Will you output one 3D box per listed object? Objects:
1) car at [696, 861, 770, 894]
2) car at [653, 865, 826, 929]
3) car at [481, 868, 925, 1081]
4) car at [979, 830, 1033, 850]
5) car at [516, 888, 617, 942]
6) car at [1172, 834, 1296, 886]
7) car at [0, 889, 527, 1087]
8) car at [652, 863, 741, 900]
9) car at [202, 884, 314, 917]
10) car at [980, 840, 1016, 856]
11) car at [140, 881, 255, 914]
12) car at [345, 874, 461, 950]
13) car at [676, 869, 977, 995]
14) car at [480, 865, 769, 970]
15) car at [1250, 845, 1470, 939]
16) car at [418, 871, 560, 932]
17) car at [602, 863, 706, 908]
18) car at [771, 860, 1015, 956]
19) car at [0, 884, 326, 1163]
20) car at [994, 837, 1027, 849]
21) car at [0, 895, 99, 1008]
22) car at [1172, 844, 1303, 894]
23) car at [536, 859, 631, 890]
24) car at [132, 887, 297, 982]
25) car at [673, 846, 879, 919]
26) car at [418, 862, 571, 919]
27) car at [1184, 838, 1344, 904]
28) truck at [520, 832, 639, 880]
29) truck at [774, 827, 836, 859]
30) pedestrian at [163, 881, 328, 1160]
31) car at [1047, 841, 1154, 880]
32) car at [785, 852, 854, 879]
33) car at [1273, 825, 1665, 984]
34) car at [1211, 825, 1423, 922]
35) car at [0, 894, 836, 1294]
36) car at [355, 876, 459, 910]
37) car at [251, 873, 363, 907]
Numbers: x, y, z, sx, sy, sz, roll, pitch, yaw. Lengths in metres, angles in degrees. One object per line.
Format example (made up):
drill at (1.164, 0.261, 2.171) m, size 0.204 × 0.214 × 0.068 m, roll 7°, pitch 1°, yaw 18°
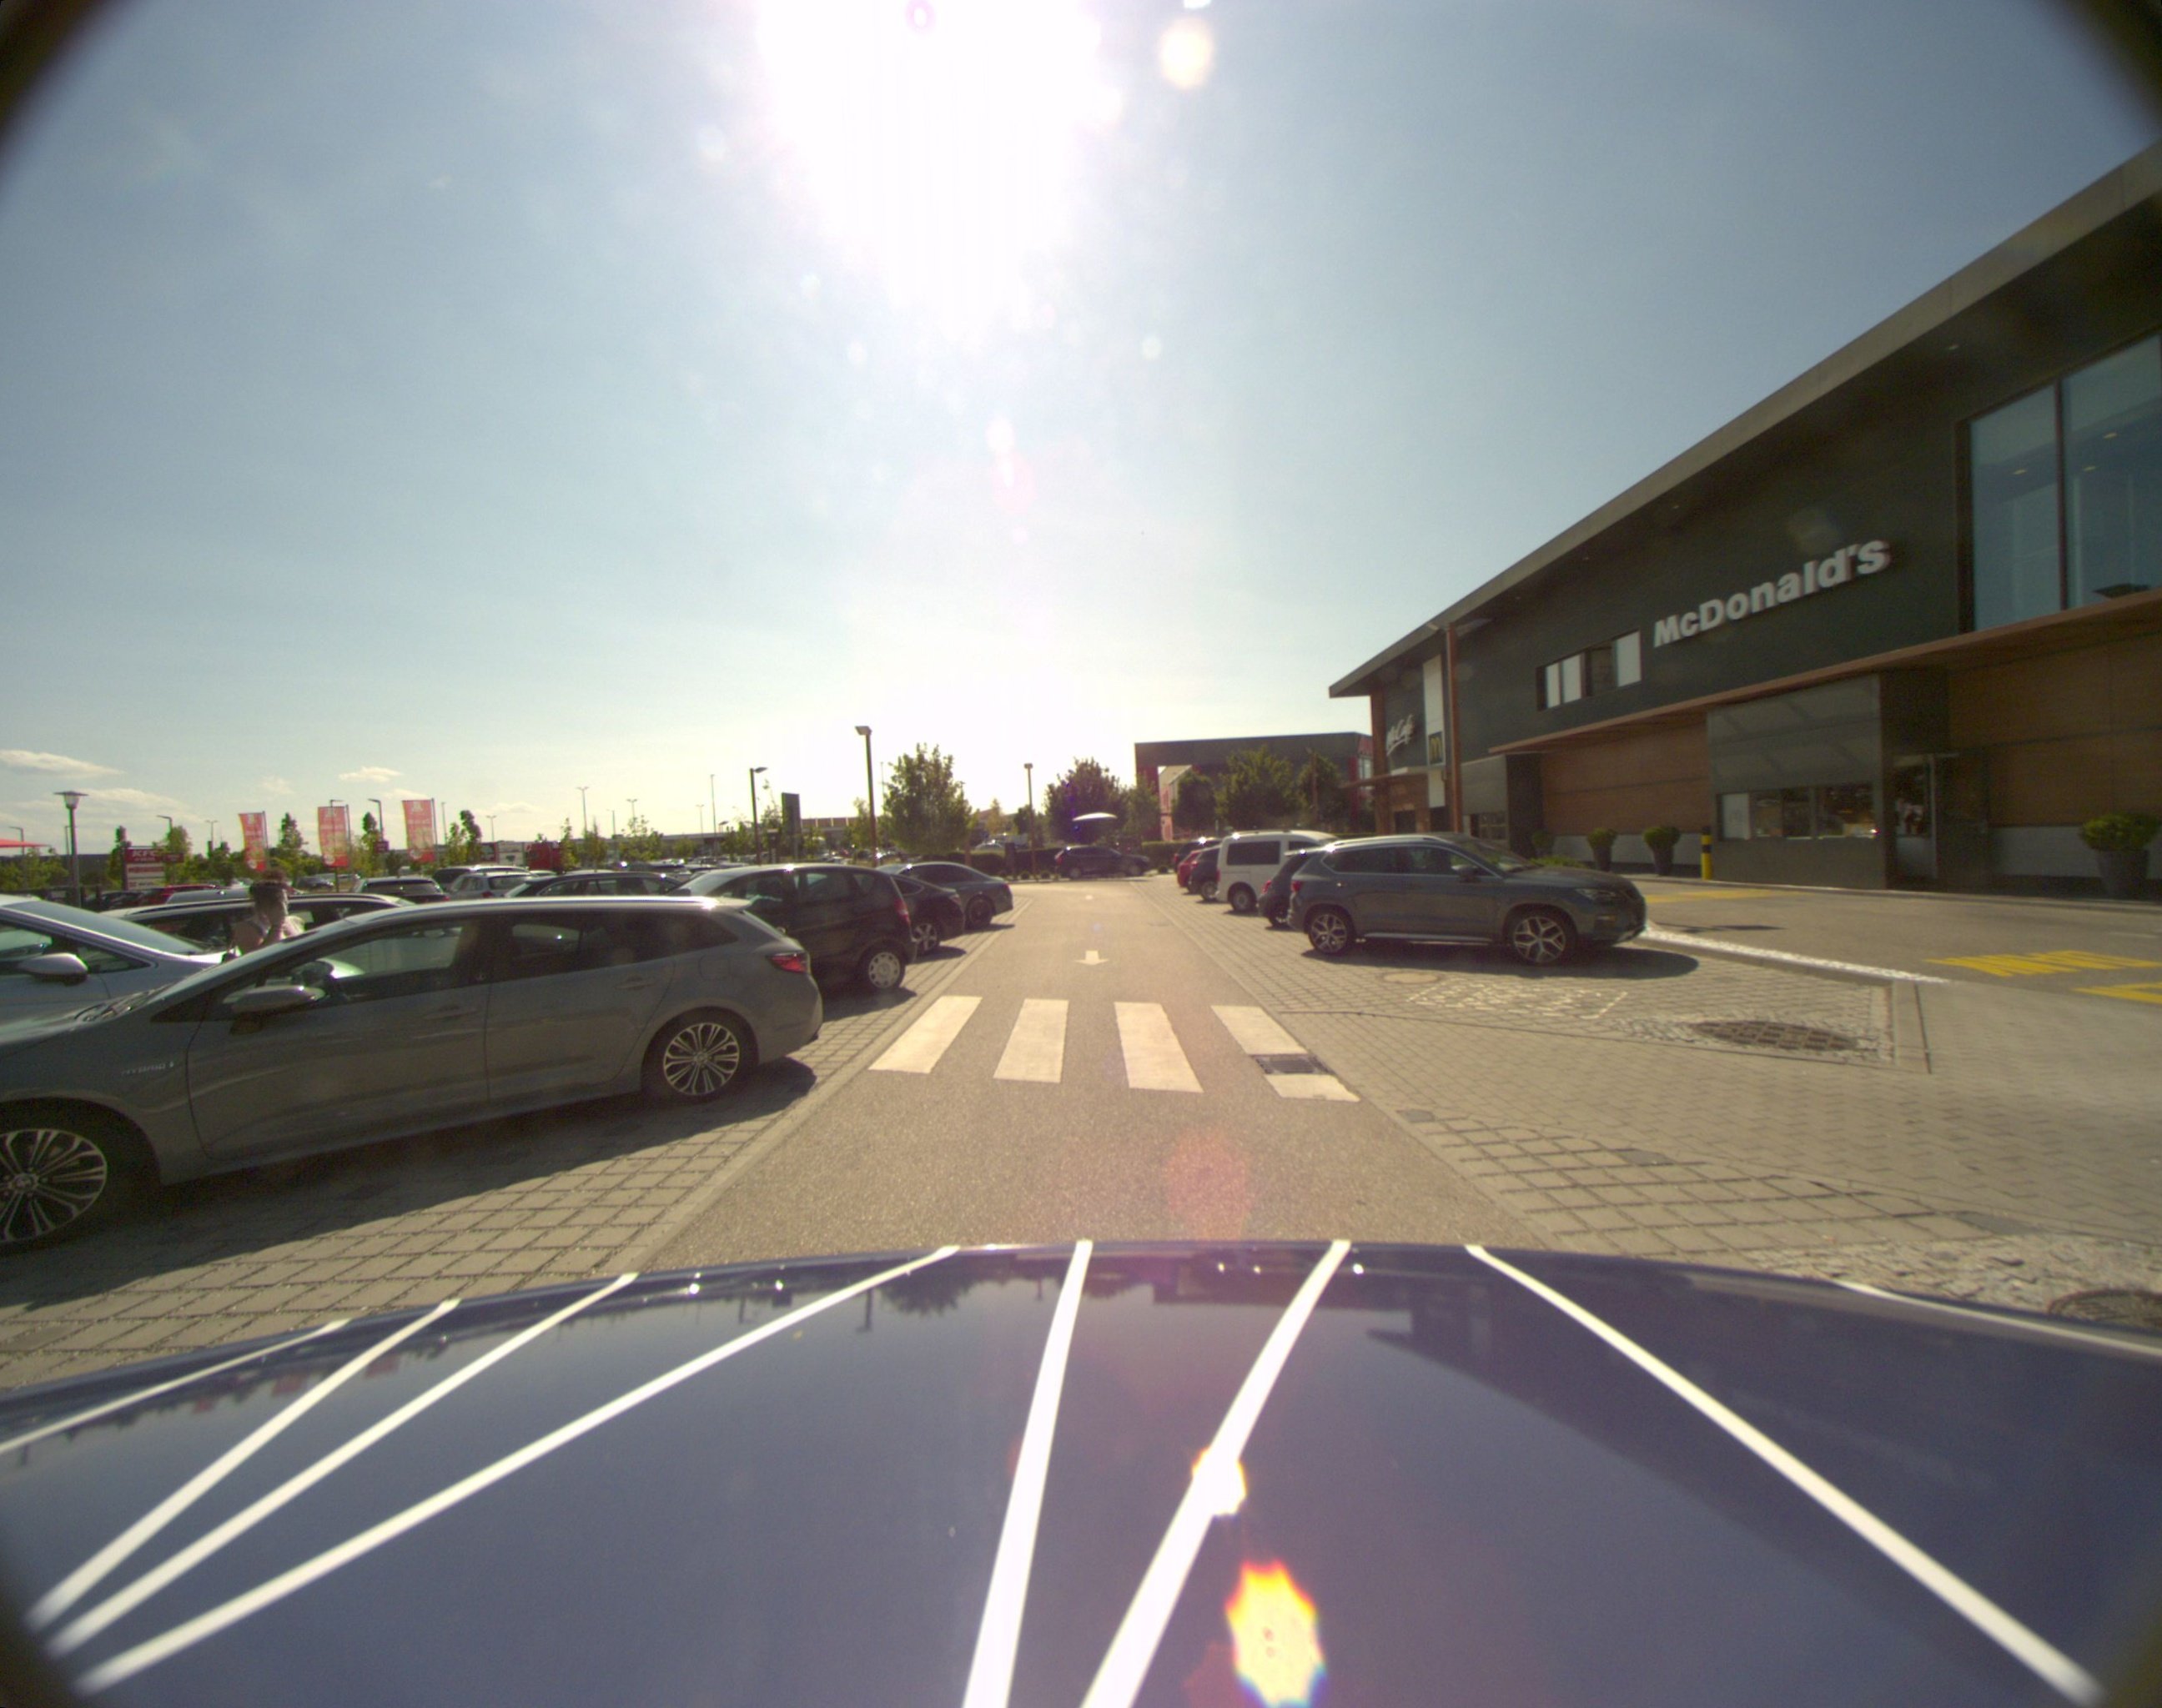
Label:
car at (-16.787, 1.103, 36.551) m, size 3.765 × 1.414 × 1.917 m, roll -2°, pitch 2°, yaw 44°
car at (-9.276, 1.104, 20.814) m, size 3.910 × 1.418 × 1.702 m, roll -3°, pitch 1°, yaw -42°
car at (-3.998, 1.066, 8.478) m, size 4.007 × 1.584 × 1.807 m, roll -3°, pitch 2°, yaw -43°
car at (-9.595, -1.771, 97.563) m, size 6.567 × 2.231 × 2.300 m, roll -2°, pitch 1°, yaw 0°
car at (-16.857, 1.917, 24.802) m, size 4.669 × 1.403 × 1.715 m, roll -1°, pitch 2°, yaw 44°
car at (5.557, 0.231, 27.736) m, size 4.029 × 1.696 × 1.677 m, roll -2°, pitch 2°, yaw 29°
car at (-8.565, 1.209, 8.039) m, size 1.788 × 1.400 × 4.090 m, roll -1°, pitch 1°, yaw 45°
car at (-16.538, 1.164, 32.617) m, size 4.075 × 1.414 × 1.801 m, roll -2°, pitch 2°, yaw 39°
car at (-44.624, 2.500, 41.321) m, size 1.685 × 1.445 × 3.756 m, roll -2°, pitch 1°, yaw 8°
car at (-9.786, -0.683, 89.564) m, size 3.998 × 1.718 × 1.893 m, roll -3°, pitch 1°, yaw -3°
car at (-48.901, 2.392, 42.180) m, size 1.685 × 1.503 × 3.756 m, roll -2°, pitch 1°, yaw 8°
car at (-16.154, 1.286, 18.051) m, size 1.824 × 1.480 × 3.989 m, roll -4°, pitch 2°, yaw -44°
car at (-3.900, 1.075, 12.075) m, size 4.083 × 1.440 × 1.823 m, roll -3°, pitch 2°, yaw -43°
car at (-8.747, 1.087, 14.818) m, size 4.425 × 1.502 × 1.978 m, roll -3°, pitch 2°, yaw -43°
car at (5.020, 0.651, 13.838) m, size 3.406 × 1.473 × 1.571 m, roll -2°, pitch 1°, yaw 38°
car at (-16.968, 1.318, 21.730) m, size 4.340 × 1.503 × 1.782 m, roll -2°, pitch 2°, yaw 32°
car at (-16.326, 1.183, 28.991) m, size 4.044 × 1.547 × 1.810 m, roll -2°, pitch 1°, yaw 35°
car at (-3.793, 1.001, 15.919) m, size 4.551 × 1.502 × 1.882 m, roll -3°, pitch 2°, yaw -43°
car at (-7.803, 1.140, 4.891) m, size 4.075 × 1.630 × 1.743 m, roll -3°, pitch 1°, yaw -44°
car at (-8.725, -1.386, 94.630) m, size 3.905 × 1.334 × 1.665 m, roll -2°, pitch 1°, yaw 0°
car at (-16.999, 1.478, 11.756) m, size 4.459 × 1.463 × 1.918 m, roll -2°, pitch 2°, yaw 41°
car at (5.049, 0.492, 24.595) m, size 3.763 × 1.435 × 1.678 m, roll -3°, pitch 1°, yaw 29°
car at (-26.403, 1.045, 40.522) m, size 1.886 × 1.390 × 4.157 m, roll -2°, pitch 1°, yaw 8°
car at (-16.402, 1.408, 14.567) m, size 3.989 × 1.395 × 1.824 m, roll -1°, pitch 2°, yaw 44°
car at (-7.719, 0.661, 19.515) m, size 4.425 × 1.502 × 1.978 m, roll -3°, pitch 2°, yaw -43°
car at (-21.370, 1.252, 27.980) m, size 2.071 × 1.740 × 4.367 m, roll -2°, pitch 1°, yaw 2°
car at (4.998, 0.469, 20.876) m, size 3.834 × 1.623 × 1.761 m, roll -2°, pitch 1°, yaw 34°
truck at (-44.784, 0.159, 67.923) m, size 9.115 × 3.844 × 3.212 m, roll -2°, pitch 1°, yaw 12°
truck at (-31.007, -1.179, 85.218) m, size 7.545 × 3.333 × 2.426 m, roll -1°, pitch 2°, yaw 34°
pedestrian at (-5.610, 1.055, 5.146) m, size 0.564 × 1.703 × 0.609 m, roll -3°, pitch 2°, yaw -36°
car at (0.915, 0.285, 37.082) m, size 5.061 × 1.620 × 1.924 m, roll -2°, pitch 1°, yaw -1°
car at (-22.175, 0.959, 64.524) m, size 5.016 × 2.002 × 2.000 m, roll -2°, pitch 2°, yaw 6°
car at (4.963, 0.619, 10.147) m, size 1.793 × 1.594 × 4.217 m, roll -7°, pitch 2°, yaw -44°
car at (5.229, 0.400, 17.110) m, size 4.133 × 1.910 × 1.761 m, roll -2°, pitch 2°, yaw 40°
car at (-4.175, 1.106, 4.715) m, size 4.672 × 1.438 × 1.831 m, roll -1°, pitch 0°, yaw -43°
car at (-34.743, 1.988, 39.316) m, size 1.685 × 1.445 × 3.756 m, roll -2°, pitch 1°, yaw 8°
car at (-40.446, 1.850, 39.841) m, size 1.685 × 1.445 × 3.756 m, roll -2°, pitch 1°, yaw 8°
